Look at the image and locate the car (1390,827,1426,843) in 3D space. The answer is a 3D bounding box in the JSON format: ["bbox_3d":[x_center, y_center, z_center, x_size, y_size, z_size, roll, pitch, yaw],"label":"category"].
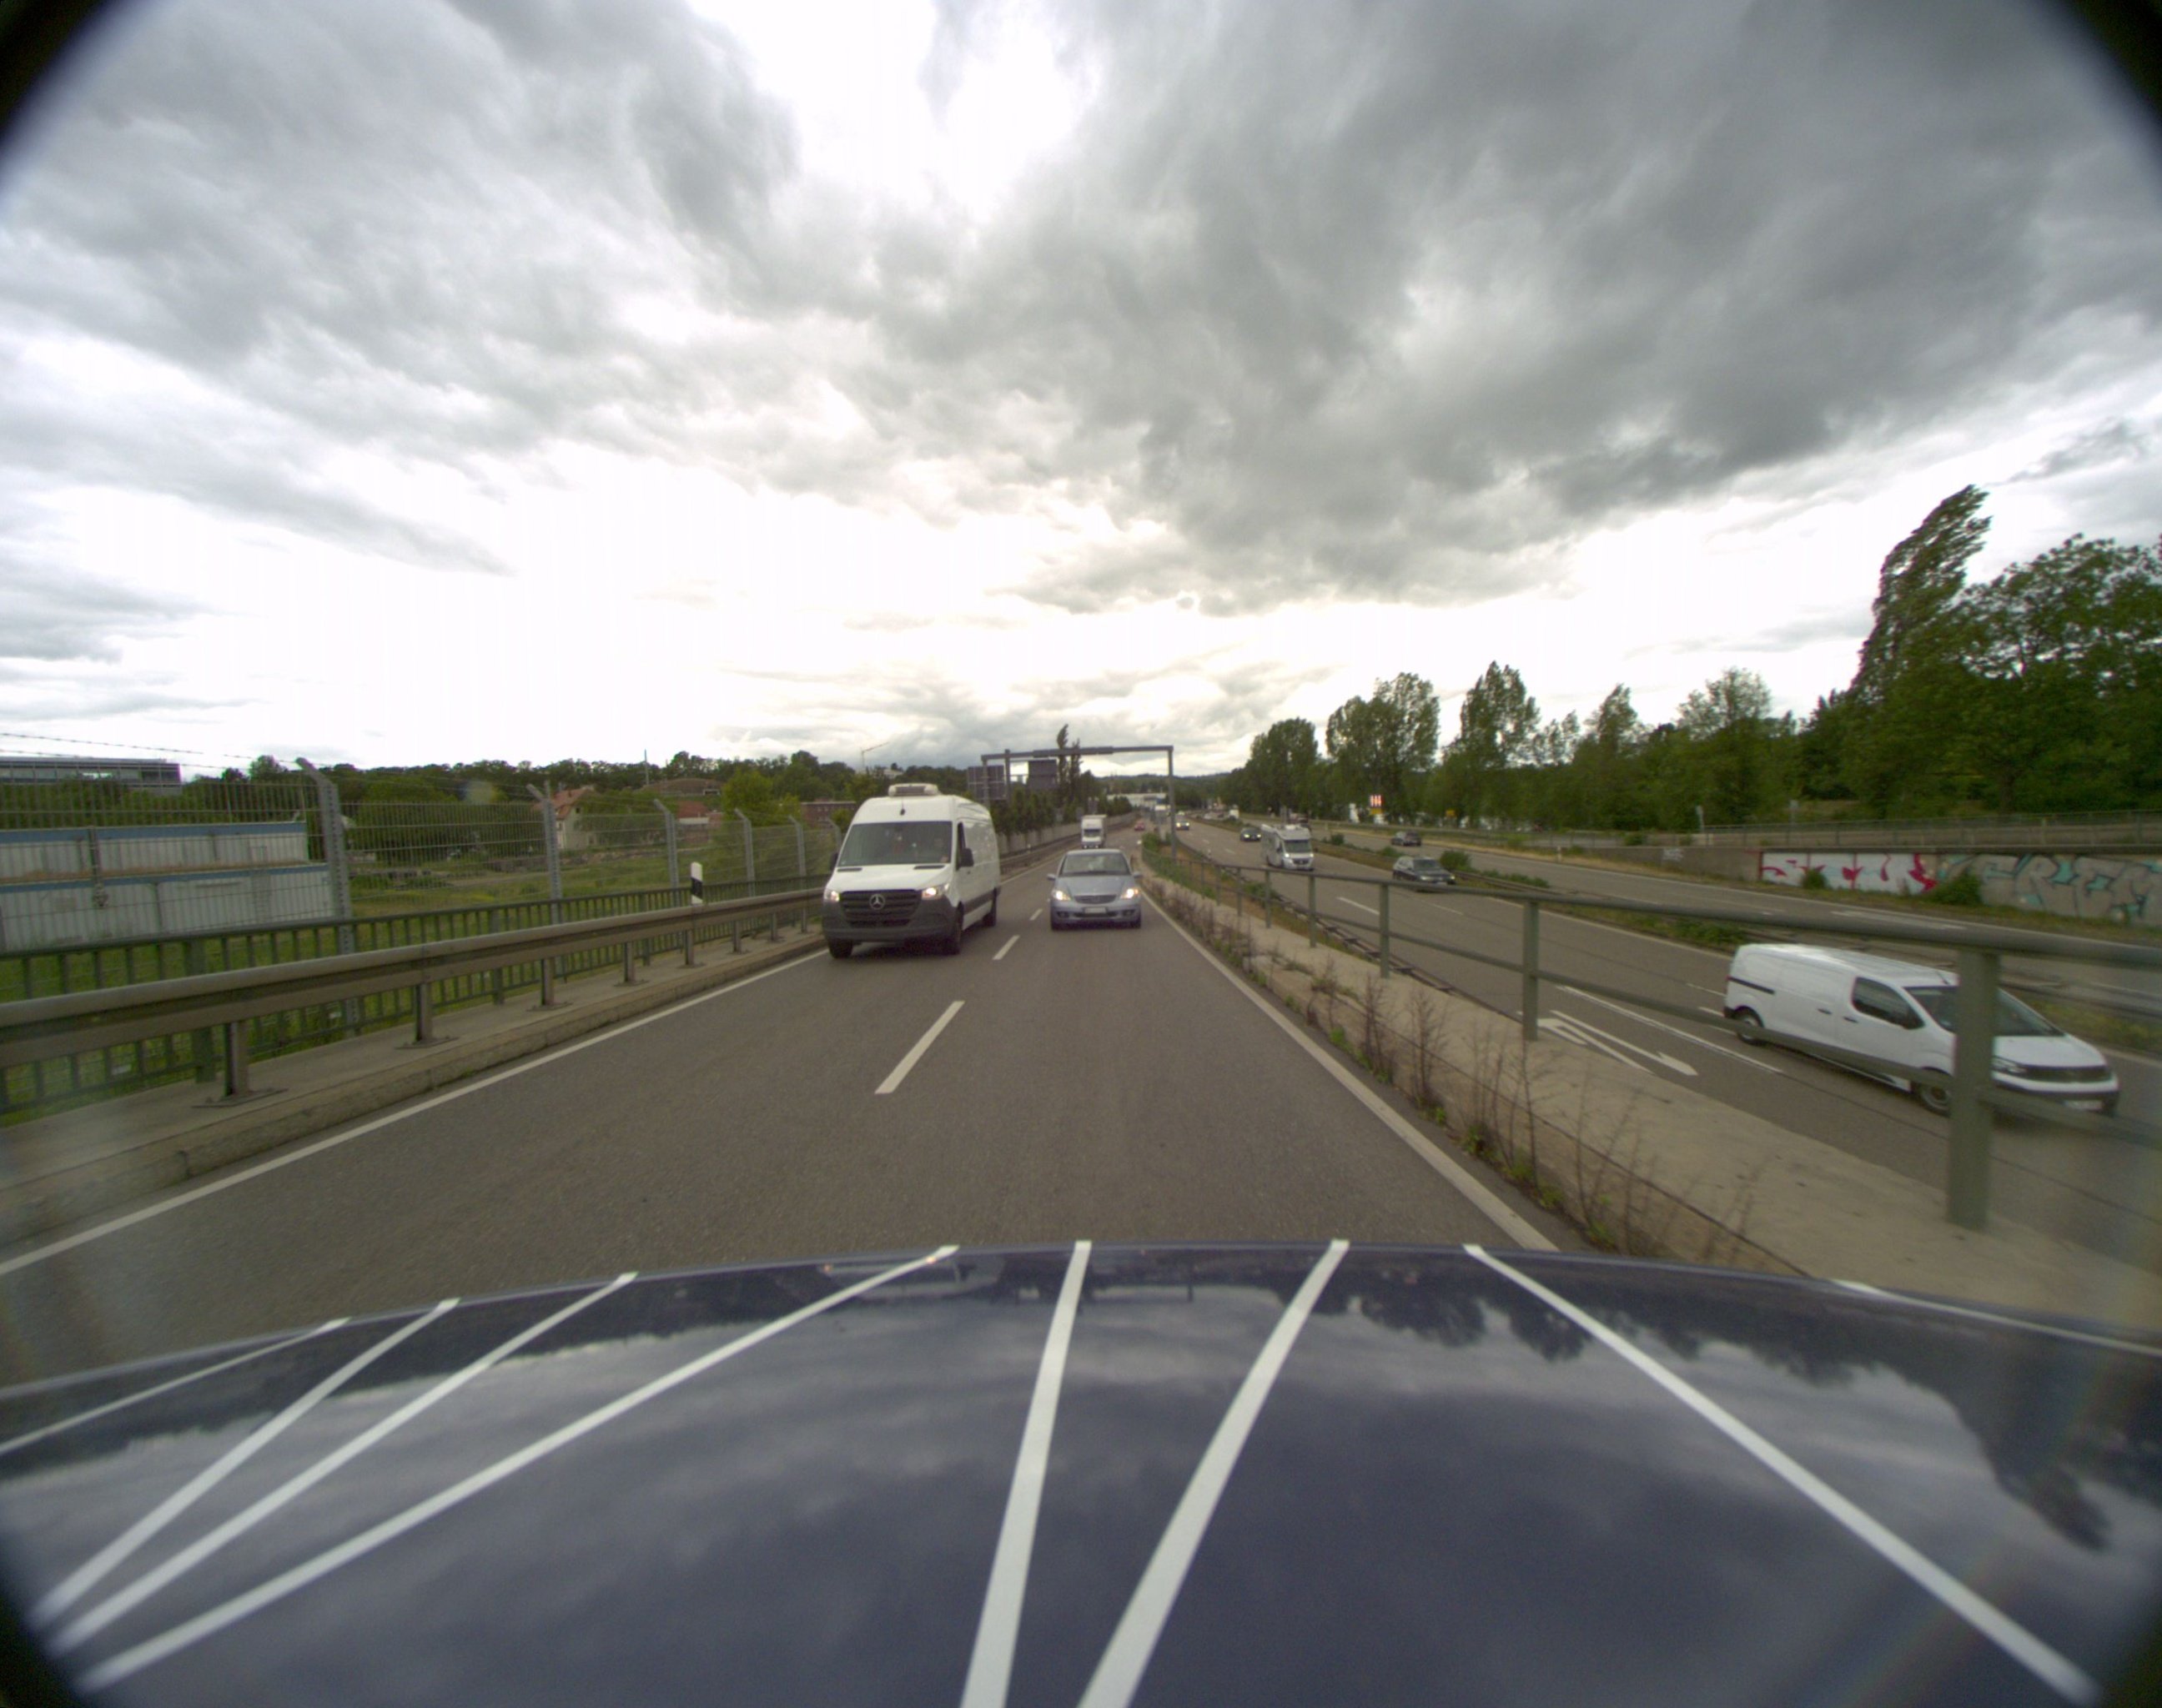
[{"bbox_3d":[31.604,-1.874,73.538,1.715,1.369,4.107,0,4,0],"label":"car"}]

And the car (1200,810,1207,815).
[{"bbox_3d":[41.765,-14.002,258.856,1.903,1.641,3.929,-2,4,1],"label":"car"}]

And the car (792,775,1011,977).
[{"bbox_3d":[-2.818,0.244,14.022,2.115,2.768,6.779,-2,1,2],"label":"car"}]

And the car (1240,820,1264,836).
[{"bbox_3d":[19.285,-2.967,85.750,1.754,1.562,4.216,-2,4,1],"label":"car"}]

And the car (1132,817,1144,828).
[{"bbox_3d":[9.318,-5.155,123.481,1.780,1.579,3.998,-2,3,3],"label":"car"}]

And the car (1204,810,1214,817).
[{"bbox_3d":[33.153,-10.511,196.672,1.761,1.642,3.928,-2,5,1],"label":"car"}]

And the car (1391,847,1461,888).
[{"bbox_3d":[17.862,0.651,39.542,1.844,1.704,4.277,-1,4,3],"label":"car"}]

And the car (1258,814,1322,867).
[{"bbox_3d":[14.461,-1.081,53.143,2.367,3.223,7.654,1,4,1],"label":"car"}]

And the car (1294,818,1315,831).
[{"bbox_3d":[29.535,-3.946,100.566,1.668,1.493,3.855,-1,5,1],"label":"car"}]

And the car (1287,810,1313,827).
[{"bbox_3d":[34.048,-5.574,118.268,2.250,2.534,6.109,-2,4,0],"label":"car"}]

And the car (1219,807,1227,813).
[{"bbox_3d":[44.015,-13.664,236.062,1.903,1.641,3.929,-2,4,1],"label":"car"}]

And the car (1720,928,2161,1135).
[{"bbox_3d":[13.674,2.662,12.719,1.954,1.925,4.893,-2,5,3],"label":"car"}]

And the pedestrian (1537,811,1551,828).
[{"bbox_3d":[48.172,-3.636,79.044,0.832,1.696,1.077,-2,5,1],"label":"pedestrian"}]

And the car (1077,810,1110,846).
[{"bbox_3d":[1.341,-2.581,76.051,2.664,3.311,7.090,-2,2,5],"label":"car"}]

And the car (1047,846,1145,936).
[{"bbox_3d":[0.304,0.670,16.120,1.780,1.578,3.999,-2,1,1],"label":"car"}]

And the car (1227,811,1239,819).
[{"bbox_3d":[34.600,-8.941,172.824,1.903,1.641,4.330,-1,4,1],"label":"car"}]

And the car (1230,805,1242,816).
[{"bbox_3d":[39.784,-11.174,195.342,2.215,2.765,5.356,-1,5,1],"label":"car"}]

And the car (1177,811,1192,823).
[{"bbox_3d":[16.639,-5.968,122.209,1.845,1.790,4.277,-2,3,1],"label":"car"}]

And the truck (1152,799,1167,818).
[{"bbox_3d":[18.088,-10.524,174.408,2.758,4.229,6.693,-1,4,0],"label":"truck"}]
